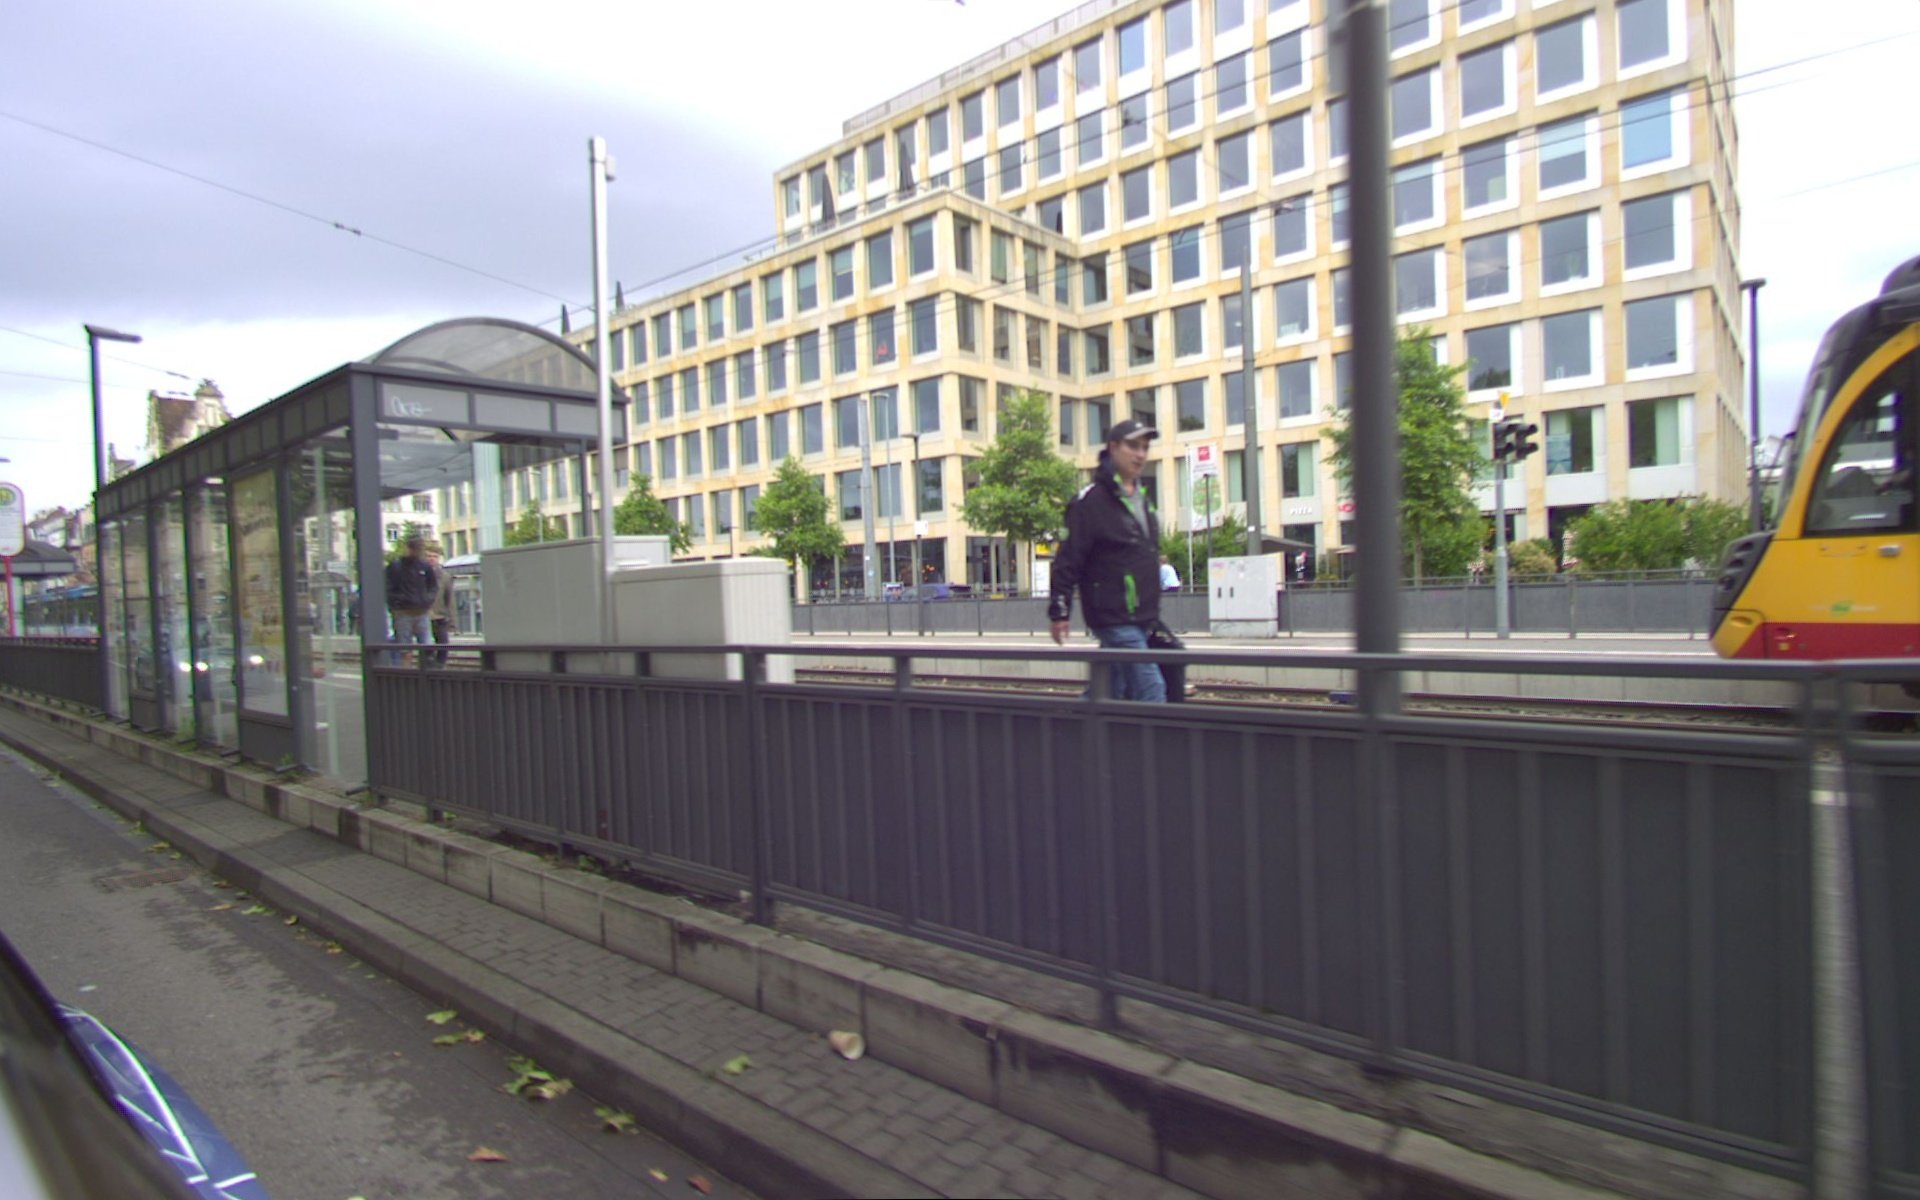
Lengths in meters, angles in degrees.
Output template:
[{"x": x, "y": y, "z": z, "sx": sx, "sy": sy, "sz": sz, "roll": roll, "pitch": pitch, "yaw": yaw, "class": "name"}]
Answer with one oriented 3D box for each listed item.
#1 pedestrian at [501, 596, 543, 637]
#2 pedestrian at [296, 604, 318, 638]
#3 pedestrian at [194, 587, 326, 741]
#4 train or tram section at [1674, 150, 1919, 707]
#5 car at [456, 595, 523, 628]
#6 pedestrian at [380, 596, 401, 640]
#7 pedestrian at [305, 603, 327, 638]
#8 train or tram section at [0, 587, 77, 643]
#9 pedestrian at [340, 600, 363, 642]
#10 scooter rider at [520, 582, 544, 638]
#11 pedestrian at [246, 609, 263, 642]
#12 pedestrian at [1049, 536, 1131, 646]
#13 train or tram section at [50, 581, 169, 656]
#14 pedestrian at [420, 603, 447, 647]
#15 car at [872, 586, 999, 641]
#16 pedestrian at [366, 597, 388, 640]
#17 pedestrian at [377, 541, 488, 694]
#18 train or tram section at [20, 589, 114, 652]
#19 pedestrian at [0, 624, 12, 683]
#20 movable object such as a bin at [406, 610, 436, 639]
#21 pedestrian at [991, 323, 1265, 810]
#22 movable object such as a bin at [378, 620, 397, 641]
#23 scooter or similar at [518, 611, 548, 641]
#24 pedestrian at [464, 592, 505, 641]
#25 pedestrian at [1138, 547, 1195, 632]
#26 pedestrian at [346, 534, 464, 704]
[{"x": -15.313, "y": 0.579, "z": 35.394, "sx": 0.939, "sy": 1.382, "sz": 1.026, "roll": -1, "pitch": 1, "yaw": 44, "class": "pedestrian"}, {"x": -31.039, "y": 0.991, "z": 48.108, "sx": 0.593, "sy": 1.599, "sz": 0.584, "roll": -1, "pitch": 1, "yaw": 23, "class": "pedestrian"}, {"x": -6.386, "y": 0.553, "z": 9.250, "sx": 0.613, "sy": 1.313, "sz": 0.827, "roll": -1, "pitch": 1, "yaw": 40, "class": "pedestrian"}, {"x": 10.954, "y": -1.292, "z": 5.447, "sx": 11.307, "sy": 3.890, "sz": 3.204, "roll": -1, "pitch": 1, "yaw": 42, "class": "train or tram section"}, {"x": -26.055, "y": 0.641, "z": 56.013, "sx": 4.000, "sy": 1.674, "sz": 1.972, "roll": -1, "pitch": 1, "yaw": 43, "class": "car"}, {"x": -21.284, "y": 0.673, "z": 37.831, "sx": 0.529, "sy": 1.619, "sz": 0.566, "roll": -2, "pitch": 1, "yaw": -42, "class": "pedestrian"}, {"x": -30.403, "y": 0.979, "z": 47.790, "sx": 0.593, "sy": 1.599, "sz": 0.584, "roll": -1, "pitch": 1, "yaw": 23, "class": "pedestrian"}, {"x": -66.052, "y": 1.085, "z": 72.180, "sx": 11.757, "sy": 3.667, "sz": 2.826, "roll": -1, "pitch": 1, "yaw": 41, "class": "train or tram section"}, {"x": -26.229, "y": 0.885, "z": 43.611, "sx": 0.590, "sy": 1.782, "sz": 0.588, "roll": -2, "pitch": 1, "yaw": 4, "class": "pedestrian"}, {"x": -12.708, "y": 0.295, "z": 30.051, "sx": 0.554, "sy": 1.661, "sz": 0.399, "roll": -1, "pitch": 1, "yaw": 41, "class": "scooter rider"}, {"x": -34.911, "y": 1.260, "z": 50.067, "sx": 0.588, "sy": 1.599, "sz": 0.589, "roll": -2, "pitch": 1, "yaw": -42, "class": "pedestrian"}, {"x": 2.232, "y": -0.151, "z": 17.392, "sx": 1.160, "sy": 1.809, "sz": 0.704, "roll": -1, "pitch": 1, "yaw": 40, "class": "pedestrian"}, {"x": -47.519, "y": 0.980, "z": 56.337, "sx": 13.511, "sy": 3.719, "sz": 2.826, "roll": -1, "pitch": 1, "yaw": 41, "class": "train or tram section"}, {"x": -19.778, "y": 0.937, "z": 38.028, "sx": 0.649, "sy": 1.619, "sz": 0.578, "roll": -2, "pitch": 1, "yaw": 8, "class": "pedestrian"}, {"x": -0.859, "y": 0.431, "z": 33.862, "sx": 4.000, "sy": 1.674, "sz": 1.972, "roll": -1, "pitch": 1, "yaw": 43, "class": "car"}, {"x": -26.292, "y": 0.822, "z": 45.632, "sx": 0.690, "sy": 1.868, "sz": 0.721, "roll": -2, "pitch": 1, "yaw": -42, "class": "pedestrian"}, {"x": -6.505, "y": 0.209, "z": 12.481, "sx": 1.108, "sy": 1.807, "sz": 0.666, "roll": -1, "pitch": 1, "yaw": 28, "class": "pedestrian"}, {"x": -57.117, "y": 1.269, "z": 64.591, "sx": 11.692, "sy": 3.667, "sz": 2.826, "roll": -1, "pitch": 1, "yaw": 41, "class": "train or tram section"}, {"x": -23.169, "y": 1.285, "z": 24.225, "sx": 0.600, "sy": 1.383, "sz": 0.604, "roll": -1, "pitch": 1, "yaw": 41, "class": "pedestrian"}, {"x": -19.923, "y": 0.900, "z": 37.429, "sx": 0.714, "sy": 1.029, "sz": 0.620, "roll": -2, "pitch": 1, "yaw": 8, "class": "movable object such as a bin"}, {"x": 0.829, "y": -0.150, "z": 4.890, "sx": 0.840, "sy": 2.029, "sz": 1.047, "roll": -1, "pitch": 1, "yaw": 41, "class": "pedestrian"}, {"x": -21.617, "y": 1.144, "z": 38.220, "sx": 0.529, "sy": 0.753, "sz": 0.469, "roll": -2, "pitch": 1, "yaw": -42, "class": "movable object such as a bin"}, {"x": -12.689, "y": 0.765, "z": 30.052, "sx": 1.003, "sy": 0.856, "sz": 0.383, "roll": -1, "pitch": 1, "yaw": 40, "class": "scooter or similar"}, {"x": -17.108, "y": 0.577, "z": 36.434, "sx": 0.939, "sy": 1.699, "sz": 1.026, "roll": -1, "pitch": 1, "yaw": 44, "class": "pedestrian"}, {"x": 5.093, "y": -0.253, "z": 24.946, "sx": 1.031, "sy": 2.029, "sz": 0.923, "roll": -1, "pitch": 1, "yaw": 40, "class": "pedestrian"}, {"x": -6.214, "y": 0.205, "z": 11.329, "sx": 1.110, "sy": 1.807, "sz": 0.665, "roll": -1, "pitch": 1, "yaw": 33, "class": "pedestrian"}]
